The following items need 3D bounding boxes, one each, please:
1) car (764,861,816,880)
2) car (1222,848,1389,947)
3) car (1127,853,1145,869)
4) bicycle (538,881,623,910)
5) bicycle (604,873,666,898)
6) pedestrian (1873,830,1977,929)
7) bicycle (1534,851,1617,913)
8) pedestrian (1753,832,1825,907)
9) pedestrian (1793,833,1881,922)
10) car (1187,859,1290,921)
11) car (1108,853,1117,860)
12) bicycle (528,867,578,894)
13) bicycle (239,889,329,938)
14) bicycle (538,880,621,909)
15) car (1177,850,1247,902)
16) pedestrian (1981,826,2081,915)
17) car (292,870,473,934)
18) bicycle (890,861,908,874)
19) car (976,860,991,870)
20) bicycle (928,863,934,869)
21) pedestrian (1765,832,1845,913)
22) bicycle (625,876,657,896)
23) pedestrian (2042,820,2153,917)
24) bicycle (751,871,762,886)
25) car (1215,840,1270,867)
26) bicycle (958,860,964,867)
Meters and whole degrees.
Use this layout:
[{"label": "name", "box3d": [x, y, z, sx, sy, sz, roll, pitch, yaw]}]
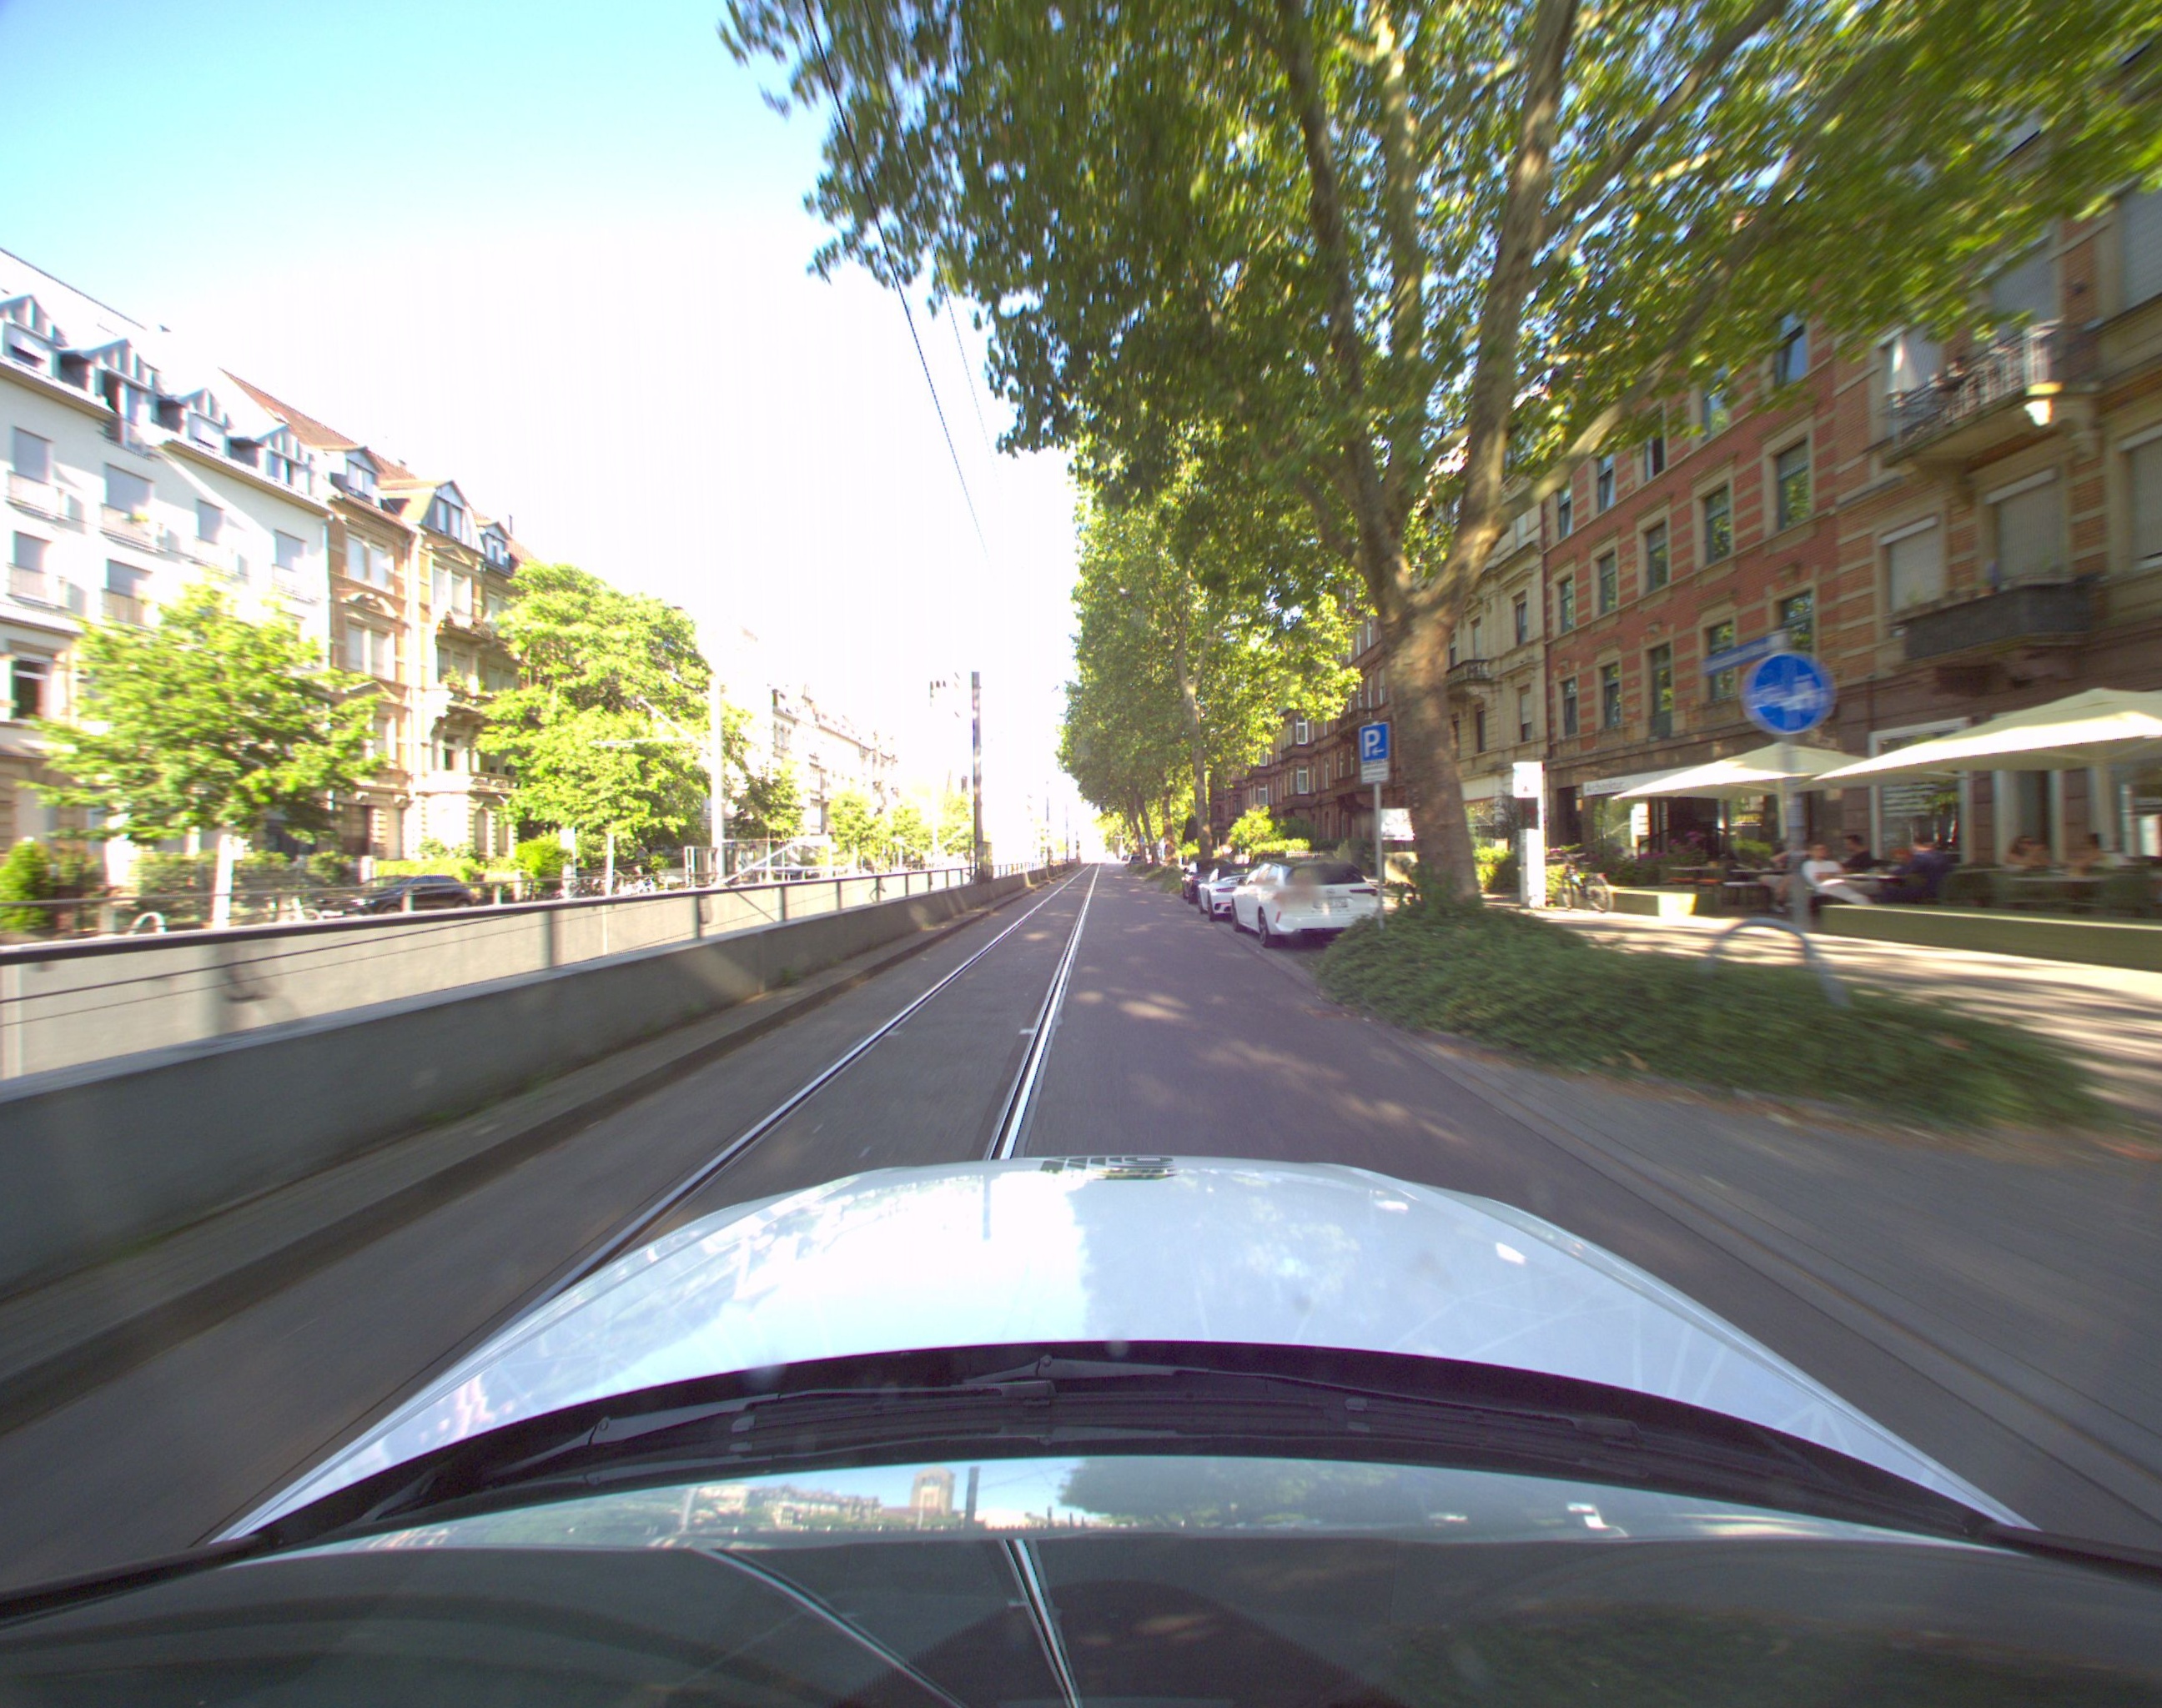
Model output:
[{"label": "car", "box3d": [-25.358, 1.398, 71.078, 3.984, 1.624, 1.820, 0, 0, -8]}, {"label": "car", "box3d": [3.813, 0.671, 14.719, 1.796, 1.477, 4.647, -1, 0, 1]}, {"label": "car", "box3d": [5.650, 0.695, 84.441, 1.611, 1.587, 4.417, -2, 0, 1]}, {"label": "bicycle", "box3d": [-19.820, 1.625, 32.320, 2.796, 1.098, 0.636, 1, 0, -31]}, {"label": "bicycle", "box3d": [-20.128, 1.414, 36.798, 2.382, 1.098, 0.552, 1, 0, -29]}, {"label": "pedestrian", "box3d": [11.540, 0.335, 11.151, 0.710, 1.300, 0.663, -1, 0, 0]}, {"label": "bicycle", "box3d": [9.800, 0.518, 16.212, 0.473, 1.143, 1.896, -3, 0, 1]}, {"label": "pedestrian", "box3d": [12.735, 0.278, 14.667, 0.710, 1.300, 0.663, -1, 0, 2]}, {"label": "pedestrian", "box3d": [11.534, 0.348, 12.441, 0.710, 1.300, 0.663, -1, 0, 0]}, {"label": "car", "box3d": [3.732, 0.800, 19.943, 1.823, 1.326, 4.001, -1, 0, 1]}, {"label": "car", "box3d": [7.053, 0.593, 182.254, 1.739, 1.462, 3.644, 1, 0, 1]}, {"label": "bicycle", "box3d": [-23.061, 1.135, 35.618, 0.553, 1.098, 2.376, 1, 0, 1]}, {"label": "bicycle", "box3d": [-20.557, 1.528, 21.029, 1.800, 1.178, 0.563, 1, 0, 3]}, {"label": "bicycle", "box3d": [-20.207, 1.615, 32.889, 2.796, 1.098, 0.636, 1, 0, -31]}, {"label": "car", "box3d": [4.227, 0.680, 26.923, 1.725, 1.536, 4.808, -1, 0, 3]}, {"label": "pedestrian", "box3d": [14.278, 0.242, 12.260, 0.658, 1.300, 0.715, -1, 0, 1]}, {"label": "car", "box3d": [-20.283, 1.329, 23.908, 1.827, 1.585, 3.999, 1, 0, -1]}, {"label": "bicycle", "box3d": [-18.806, 1.406, 84.046, 1.721, 1.280, 0.601, -1, -1, 7]}, {"label": "car", "box3d": [-16.990, 1.900, 141.652, 1.708, 1.555, 4.514, 1, 0, 3]}, {"label": "bicycle", "box3d": [-21.234, 1.644, 115.226, 0.414, 0.800, 1.890, 1, 0, 4]}, {"label": "pedestrian", "box3d": [11.981, 0.305, 13.499, 0.710, 1.300, 0.663, -1, 0, 1]}, {"label": "bicycle", "box3d": [-20.211, 1.479, 37.414, 1.272, 0.905, 0.534, 1, 0, -29]}, {"label": "pedestrian", "box3d": [14.210, 0.201, 11.401, 0.710, 1.300, 0.663, -1, 0, 0]}, {"label": "bicycle", "box3d": [-22.869, 1.755, 57.369, 0.457, 1.005, 1.925, 1, -3, -29]}, {"label": "car", "box3d": [13.757, -0.013, 69.544, 4.163, 2.013, 1.999, -4, 0, -1]}, {"label": "bicycle", "box3d": [-17.820, 1.442, 120.988, 0.487, 1.022, 1.879, 1, 0, -22]}]
